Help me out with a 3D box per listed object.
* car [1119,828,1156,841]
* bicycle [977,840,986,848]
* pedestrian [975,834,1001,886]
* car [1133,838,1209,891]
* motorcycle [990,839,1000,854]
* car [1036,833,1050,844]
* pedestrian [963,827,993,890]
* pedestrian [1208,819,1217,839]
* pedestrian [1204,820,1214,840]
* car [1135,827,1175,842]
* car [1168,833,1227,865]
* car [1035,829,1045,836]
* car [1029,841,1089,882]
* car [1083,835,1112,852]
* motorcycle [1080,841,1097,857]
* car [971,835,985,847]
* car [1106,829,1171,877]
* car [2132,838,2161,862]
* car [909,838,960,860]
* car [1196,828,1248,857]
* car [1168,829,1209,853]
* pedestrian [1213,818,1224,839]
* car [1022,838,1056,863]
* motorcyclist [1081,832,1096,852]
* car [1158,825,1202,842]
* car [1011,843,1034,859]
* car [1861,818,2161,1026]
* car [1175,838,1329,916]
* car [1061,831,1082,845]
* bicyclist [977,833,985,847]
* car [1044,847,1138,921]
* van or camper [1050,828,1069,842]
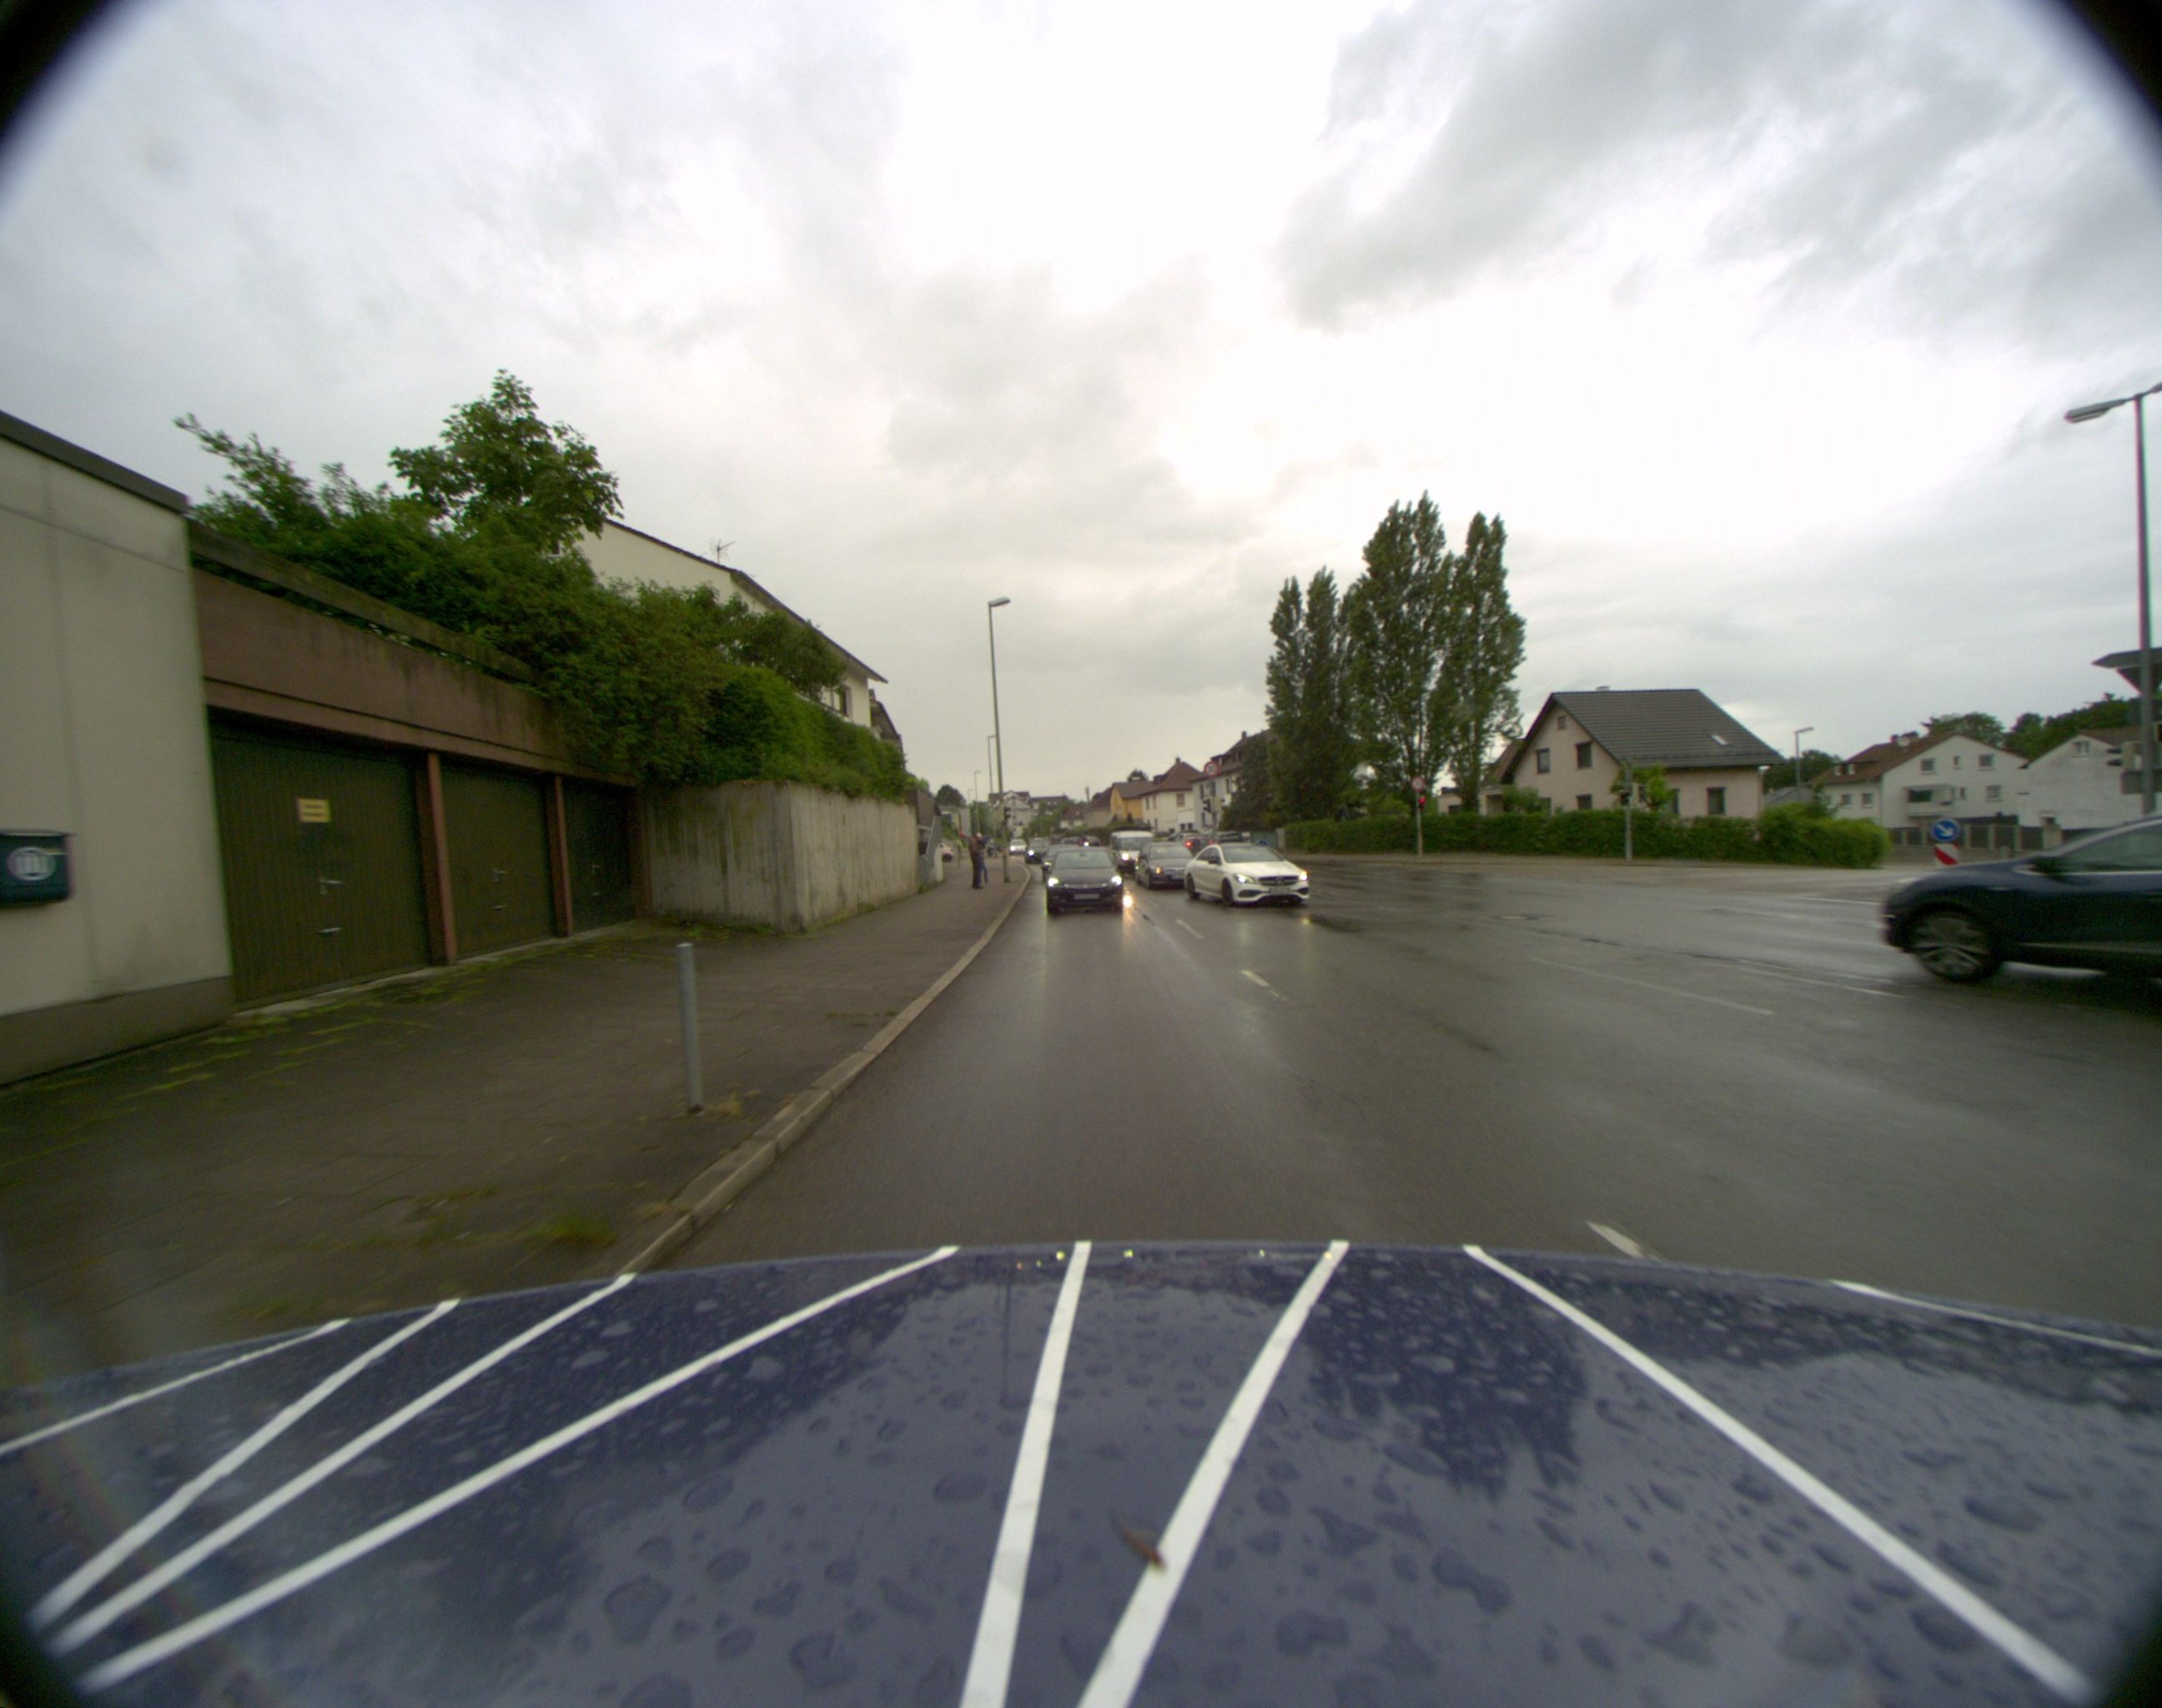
[{"bbox_3d":[6.813,-2.319,91.714,4.115,1.475,1.837,1,1,-15],"label":"car"},{"bbox_3d":[-11.851,-1.218,90.377,0.733,0.822,2.233,-1,2,1],"label":"bicycle"},{"bbox_3d":[-3.262,0.183,26.798,0.796,1.771,1.011,-1,3,-2],"label":"pedestrian"},{"bbox_3d":[2.836,0.268,24.805,1.840,1.479,4.056,-2,2,-2],"label":"car"},{"bbox_3d":[-7.669,-0.681,67.961,0.694,1.317,2.476,-2,2,-10],"label":"motorcycle"},{"bbox_3d":[-5.779,-2.375,115.148,1.838,1.521,3.996,-2,2,-8],"label":"car"},{"bbox_3d":[-3.372,0.149,24.876,0.799,2.003,0.734,-2,3,-2],"label":"pedestrian"},{"bbox_3d":[12.585,-2.397,72.657,0.652,1.777,0.648,-4,2,15],"label":"pedestrian"},{"bbox_3d":[11.866,-2.201,70.384,0.670,1.779,0.539,-6,3,-5],"label":"pedestrian"},{"bbox_3d":[8.318,-2.219,85.956,4.112,1.412,1.882,-4,2,-8],"label":"car"},{"bbox_3d":[6.181,-0.319,40.729,2.000,1.565,3.995,-2,2,-9],"label":"car"},{"bbox_3d":[-9.484,-5.030,175.625,2.000,1.565,3.995,-2,3,-8],"label":"car"},{"bbox_3d":[-0.992,0.251,31.619,1.911,1.390,4.851,-2,2,-8],"label":"car"},{"bbox_3d":[1.476,-0.962,69.943,1.859,1.456,3.995,-3,2,-9],"label":"car"},{"bbox_3d":[0.564,-0.379,56.142,0.944,1.101,2.404,-2,2,-6],"label":"motorcycle"},{"bbox_3d":[-13.790,-1.742,101.657,1.738,1.481,3.996,-2,2,-8],"label":"car"},{"bbox_3d":[2.341,-0.119,32.265,1.957,1.860,4.742,-2,2,-5],"label":"car"},{"bbox_3d":[61.138,-0.229,41.407,4.083,1.281,1.911,0,2,25],"label":"car"},{"bbox_3d":[-11.052,-0.384,57.227,3.644,1.477,1.810,-3,2,-13],"label":"car"},{"bbox_3d":[8.701,-0.755,47.273,1.810,1.660,4.593,-2,3,-8],"label":"car"},{"bbox_3d":[7.638,-0.954,54.254,1.810,1.560,4.138,-2,3,-8],"label":"car"},{"bbox_3d":[12.637,-2.313,69.871,0.734,1.857,0.686,-6,3,-3],"label":"pedestrian"},{"bbox_3d":[-2.871,-0.232,51.429,1.842,1.448,3.998,-2,-2,-9],"label":"car"},{"bbox_3d":[0.541,-0.902,56.057,0.953,1.414,0.992,-2,3,-7],"label":"motorcyclist"},{"bbox_3d":[9.863,-2.047,75.885,3.999,1.412,1.882,-5,3,-8],"label":"car"},{"bbox_3d":[-5.826,-0.297,75.013,1.842,1.473,3.996,-2,1,-11],"label":"car"},{"bbox_3d":[9.016,0.499,5.616,1.846,1.543,4.381,-1,2,-3],"label":"car"},{"bbox_3d":[3.923,0.430,18.361,1.915,1.520,4.645,-2,2,-11],"label":"car"},{"bbox_3d":[-1.075,-1.821,84.302,1.717,1.494,3.995,-2,2,-9],"label":"car"},{"bbox_3d":[-11.868,-1.665,90.392,0.809,1.633,0.906,-1,2,1],"label":"bicyclist"},{"bbox_3d":[0.262,0.594,17.562,1.840,1.390,3.999,-3,1,2],"label":"car"},{"bbox_3d":[-3.405,-2.988,120.223,2.191,2.003,5.127,-2,3,-10],"label":"van or camper"}]
